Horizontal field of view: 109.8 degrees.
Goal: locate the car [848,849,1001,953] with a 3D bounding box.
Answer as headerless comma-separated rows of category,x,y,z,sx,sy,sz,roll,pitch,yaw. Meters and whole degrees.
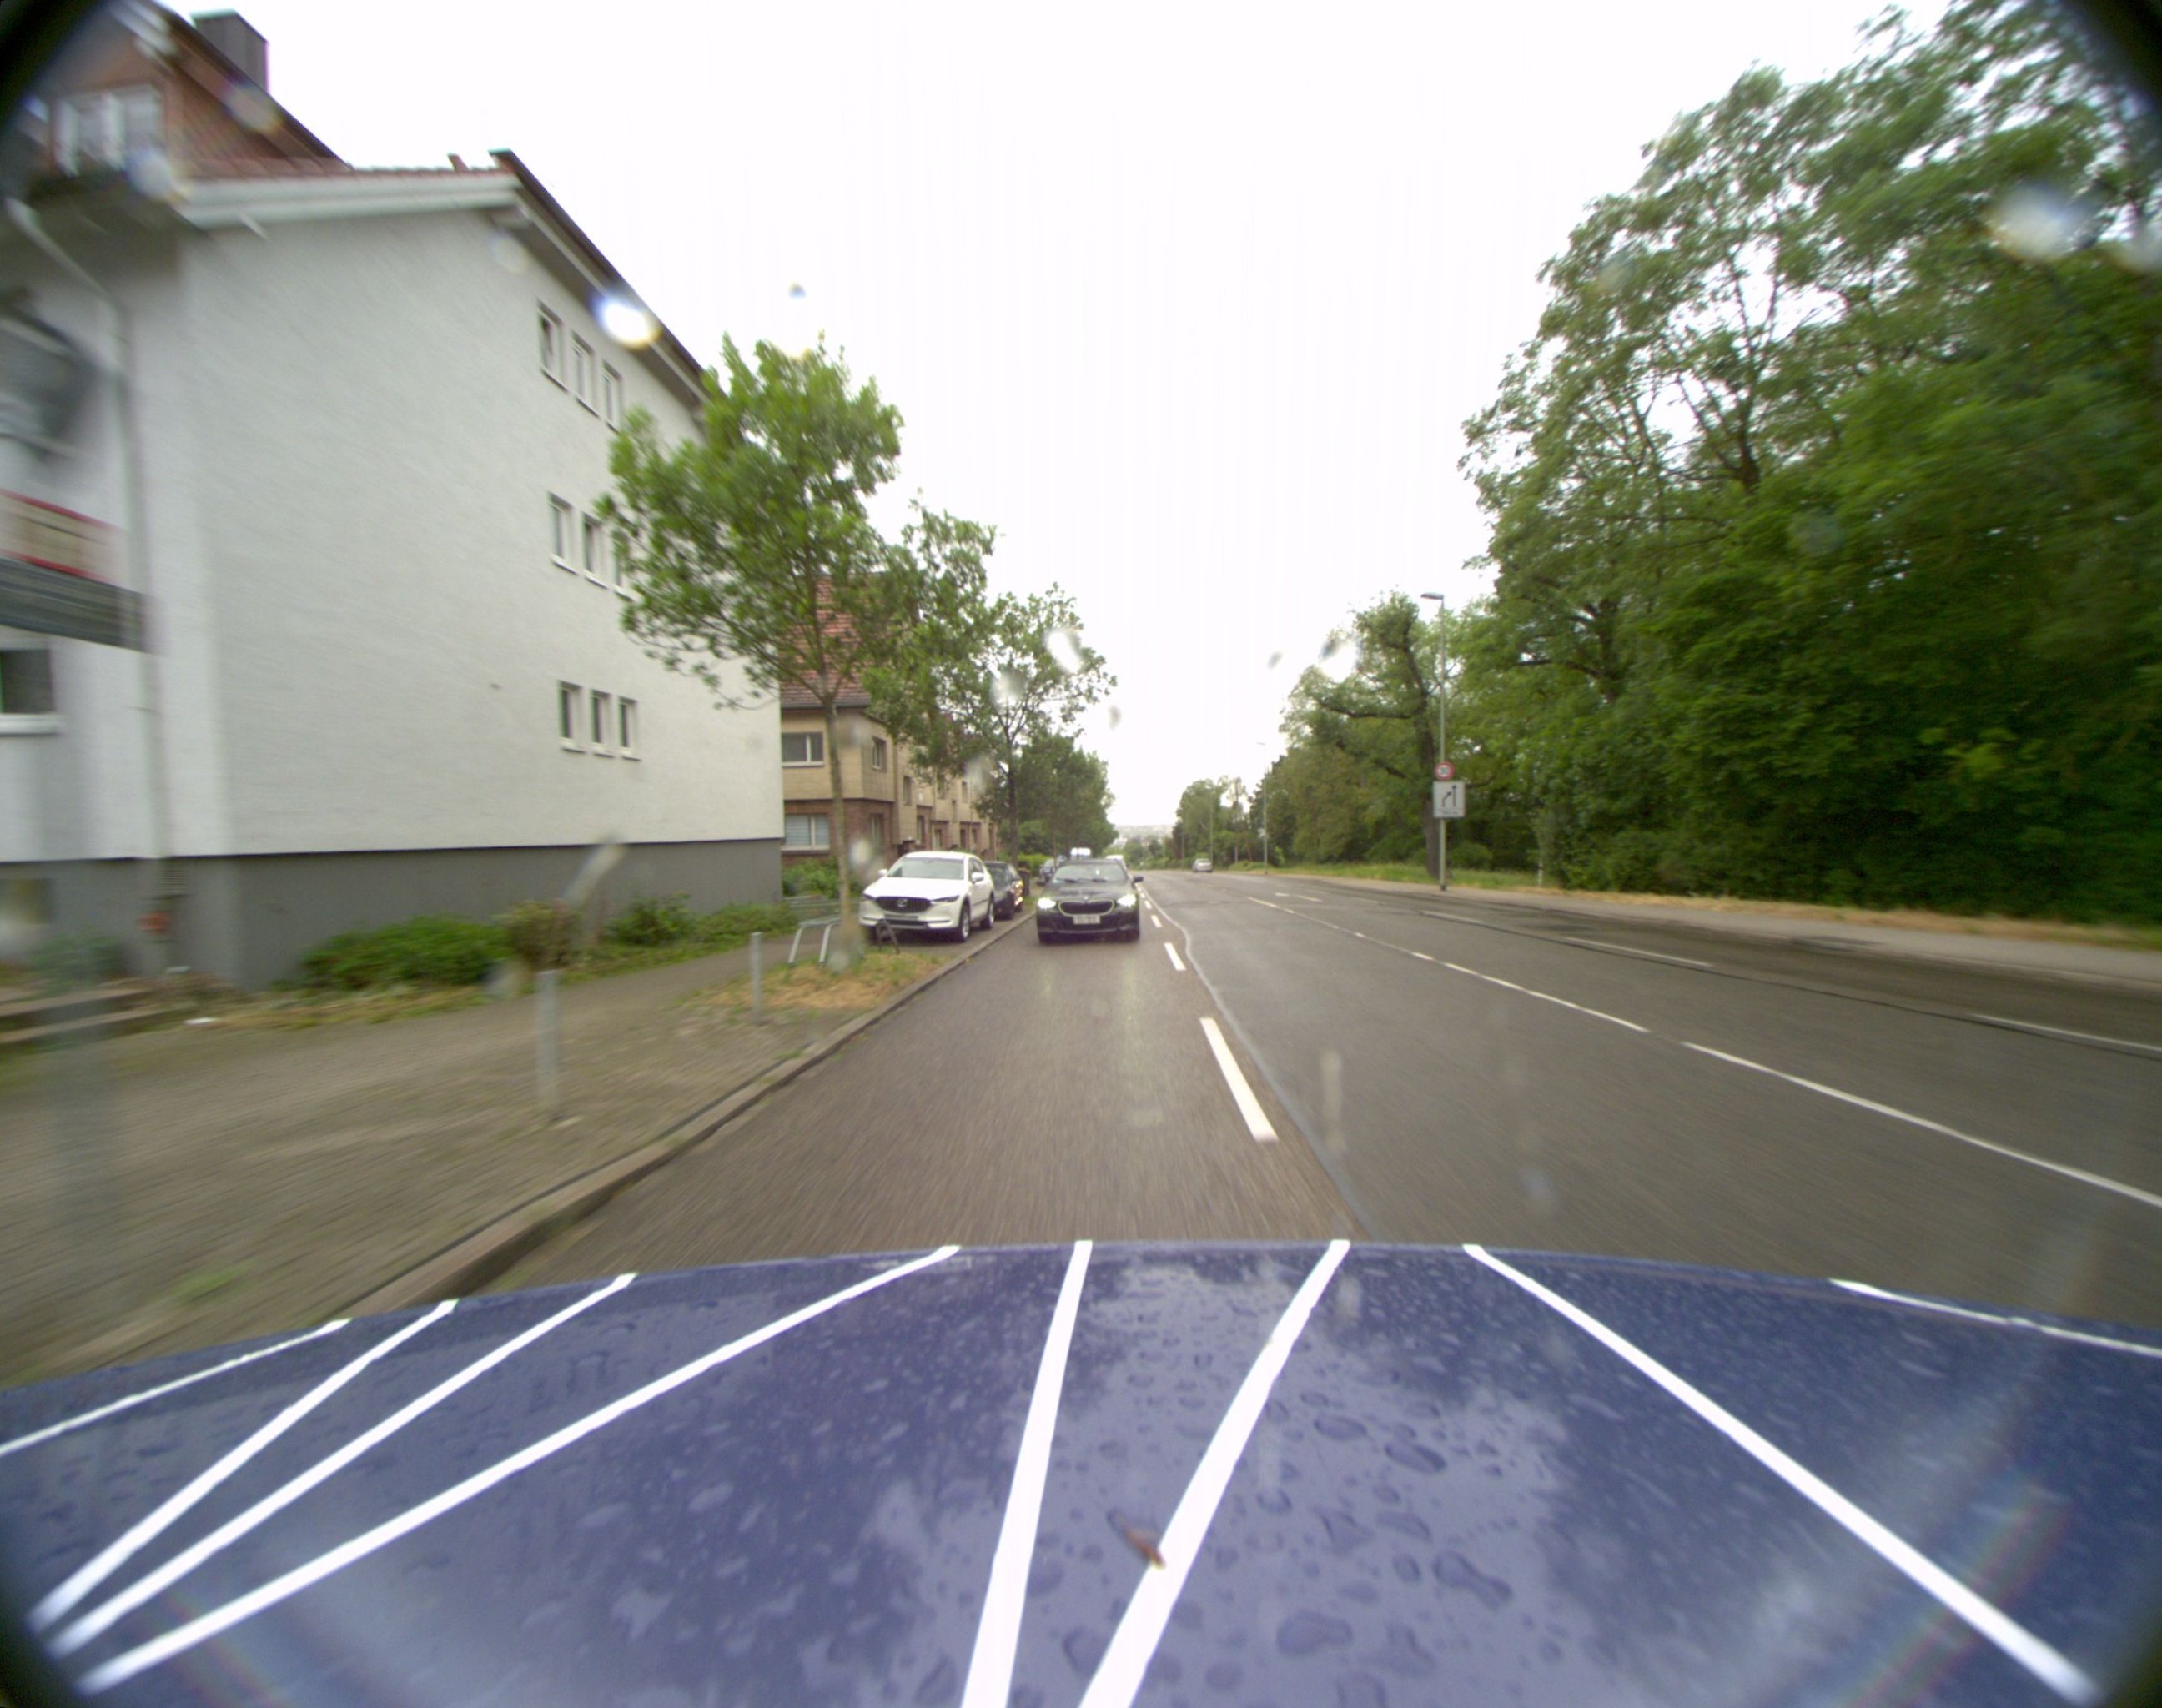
car,-2.907,0.801,15.238,1.828,1.762,4.542,-1,0,4

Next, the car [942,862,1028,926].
car,-2.452,0.977,20.244,1.645,1.440,3.998,-1,1,2

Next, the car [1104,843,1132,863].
car,3.155,-0.060,65.778,1.999,1.674,4.173,-1,-1,-2

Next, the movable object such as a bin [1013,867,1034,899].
movable object such as a bin,-1.971,0.979,25.995,0.621,1.044,0.822,1,0,0

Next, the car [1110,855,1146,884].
car,2.788,0.914,46.027,1.998,1.674,4.175,-1,-1,2

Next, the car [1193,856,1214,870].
car,12.821,0.920,79.621,1.693,1.474,4.453,0,0,3

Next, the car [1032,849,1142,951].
car,0.185,0.827,15.356,1.828,1.668,4.297,-3,-1,2

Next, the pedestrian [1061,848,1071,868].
pedestrian,-1.237,0.309,62.726,0.652,1.670,0.710,0,0,11

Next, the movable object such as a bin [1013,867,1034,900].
movable object such as a bin,-1.893,0.964,25.091,0.621,1.044,0.822,1,0,0

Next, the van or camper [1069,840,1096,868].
van or camper,0.246,0.051,73.713,2.202,2.635,7.304,0,-1,3

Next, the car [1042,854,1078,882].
car,-1.208,0.831,45.905,1.705,1.575,4.644,2,0,4
